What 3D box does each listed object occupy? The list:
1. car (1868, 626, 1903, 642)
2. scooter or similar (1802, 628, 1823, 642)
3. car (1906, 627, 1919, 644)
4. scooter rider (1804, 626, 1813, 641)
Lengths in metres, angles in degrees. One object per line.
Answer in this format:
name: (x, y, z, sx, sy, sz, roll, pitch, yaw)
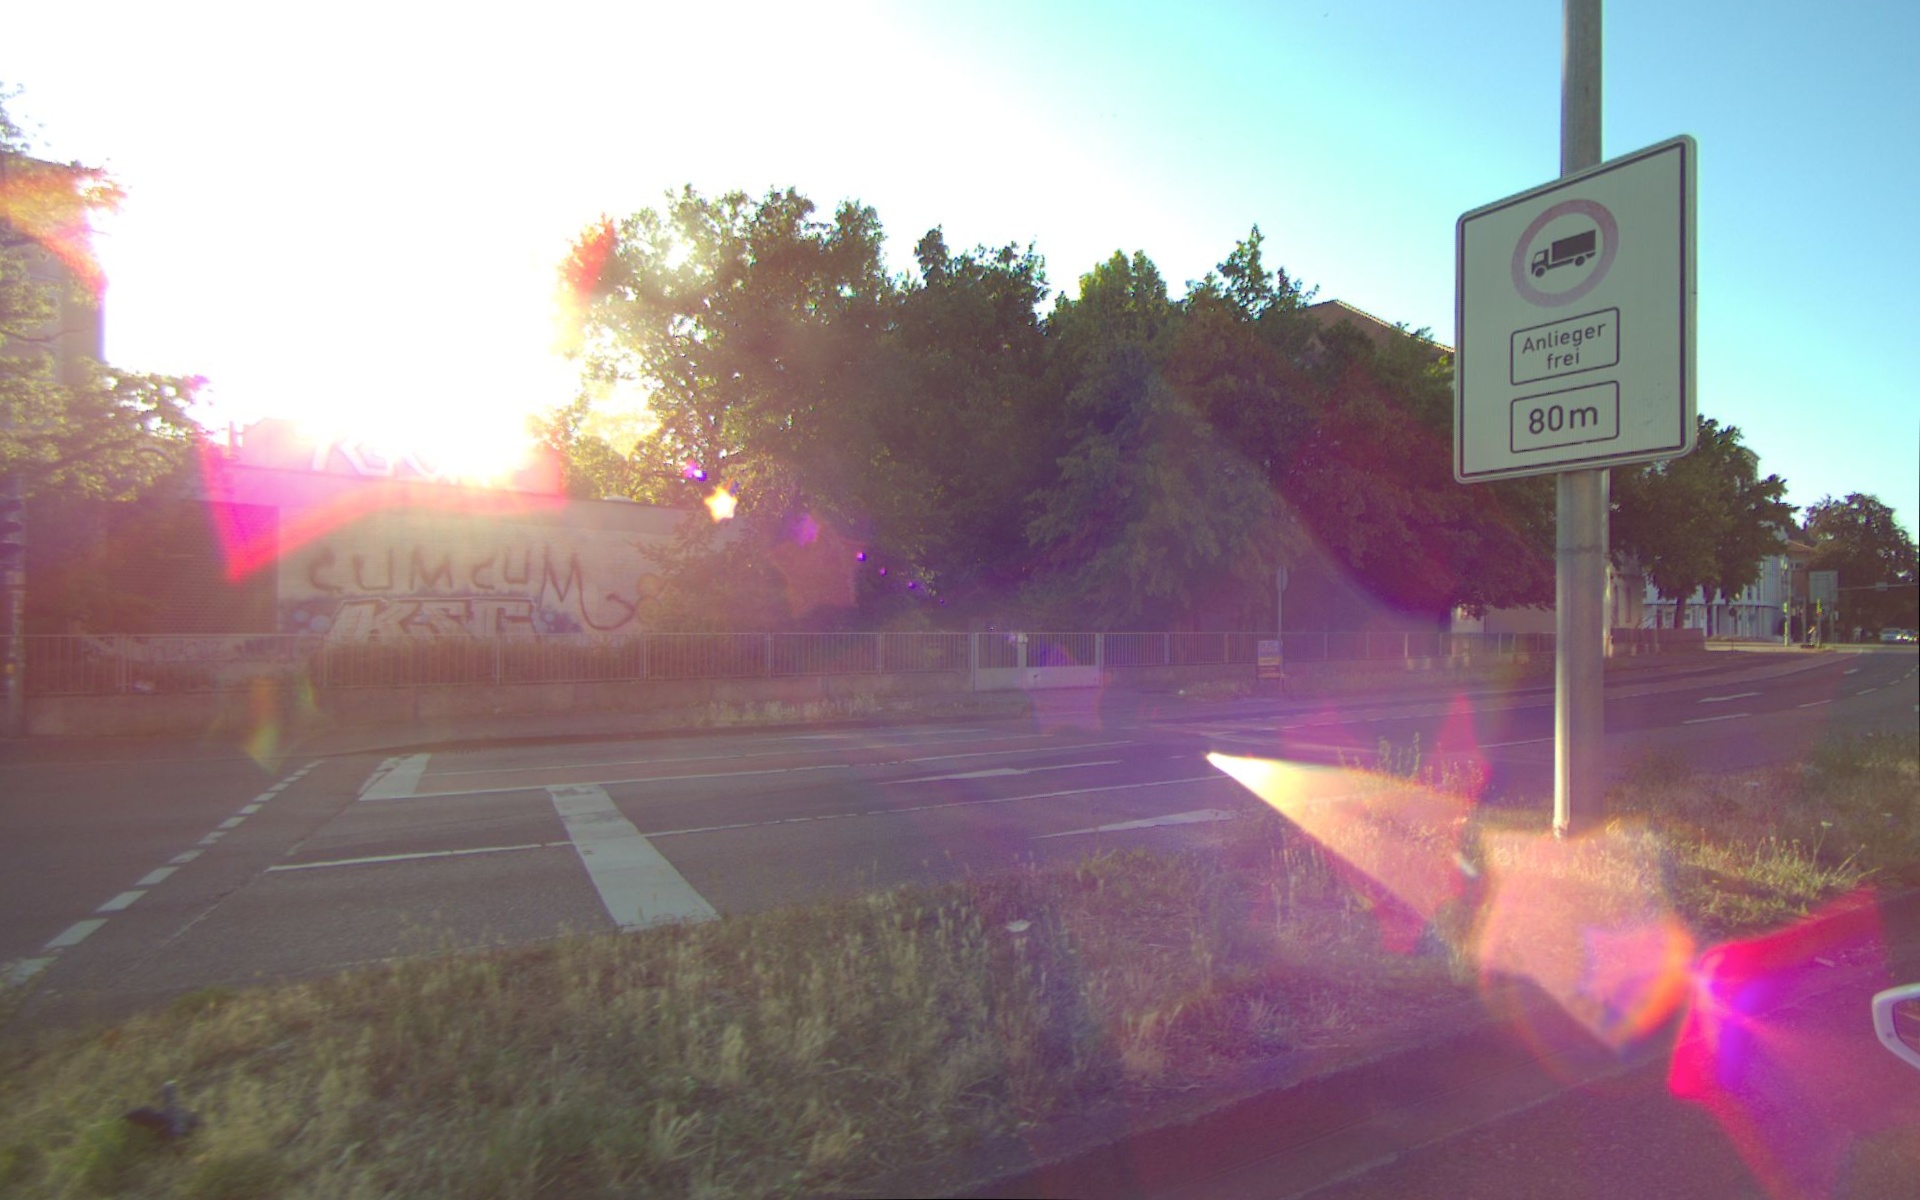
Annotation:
car: (92.871, 3.404, 100.781, 3.963, 1.616, 1.979, 1, -1, -38)
scooter or similar: (63.096, 2.607, 74.350, 1.085, 0.989, 0.557, 1, 0, 37)
car: (94.895, 3.523, 98.906, 3.963, 1.616, 1.979, 1, -1, -38)
scooter rider: (62.922, 2.493, 74.491, 0.502, 1.050, 0.445, 1, 0, 35)
